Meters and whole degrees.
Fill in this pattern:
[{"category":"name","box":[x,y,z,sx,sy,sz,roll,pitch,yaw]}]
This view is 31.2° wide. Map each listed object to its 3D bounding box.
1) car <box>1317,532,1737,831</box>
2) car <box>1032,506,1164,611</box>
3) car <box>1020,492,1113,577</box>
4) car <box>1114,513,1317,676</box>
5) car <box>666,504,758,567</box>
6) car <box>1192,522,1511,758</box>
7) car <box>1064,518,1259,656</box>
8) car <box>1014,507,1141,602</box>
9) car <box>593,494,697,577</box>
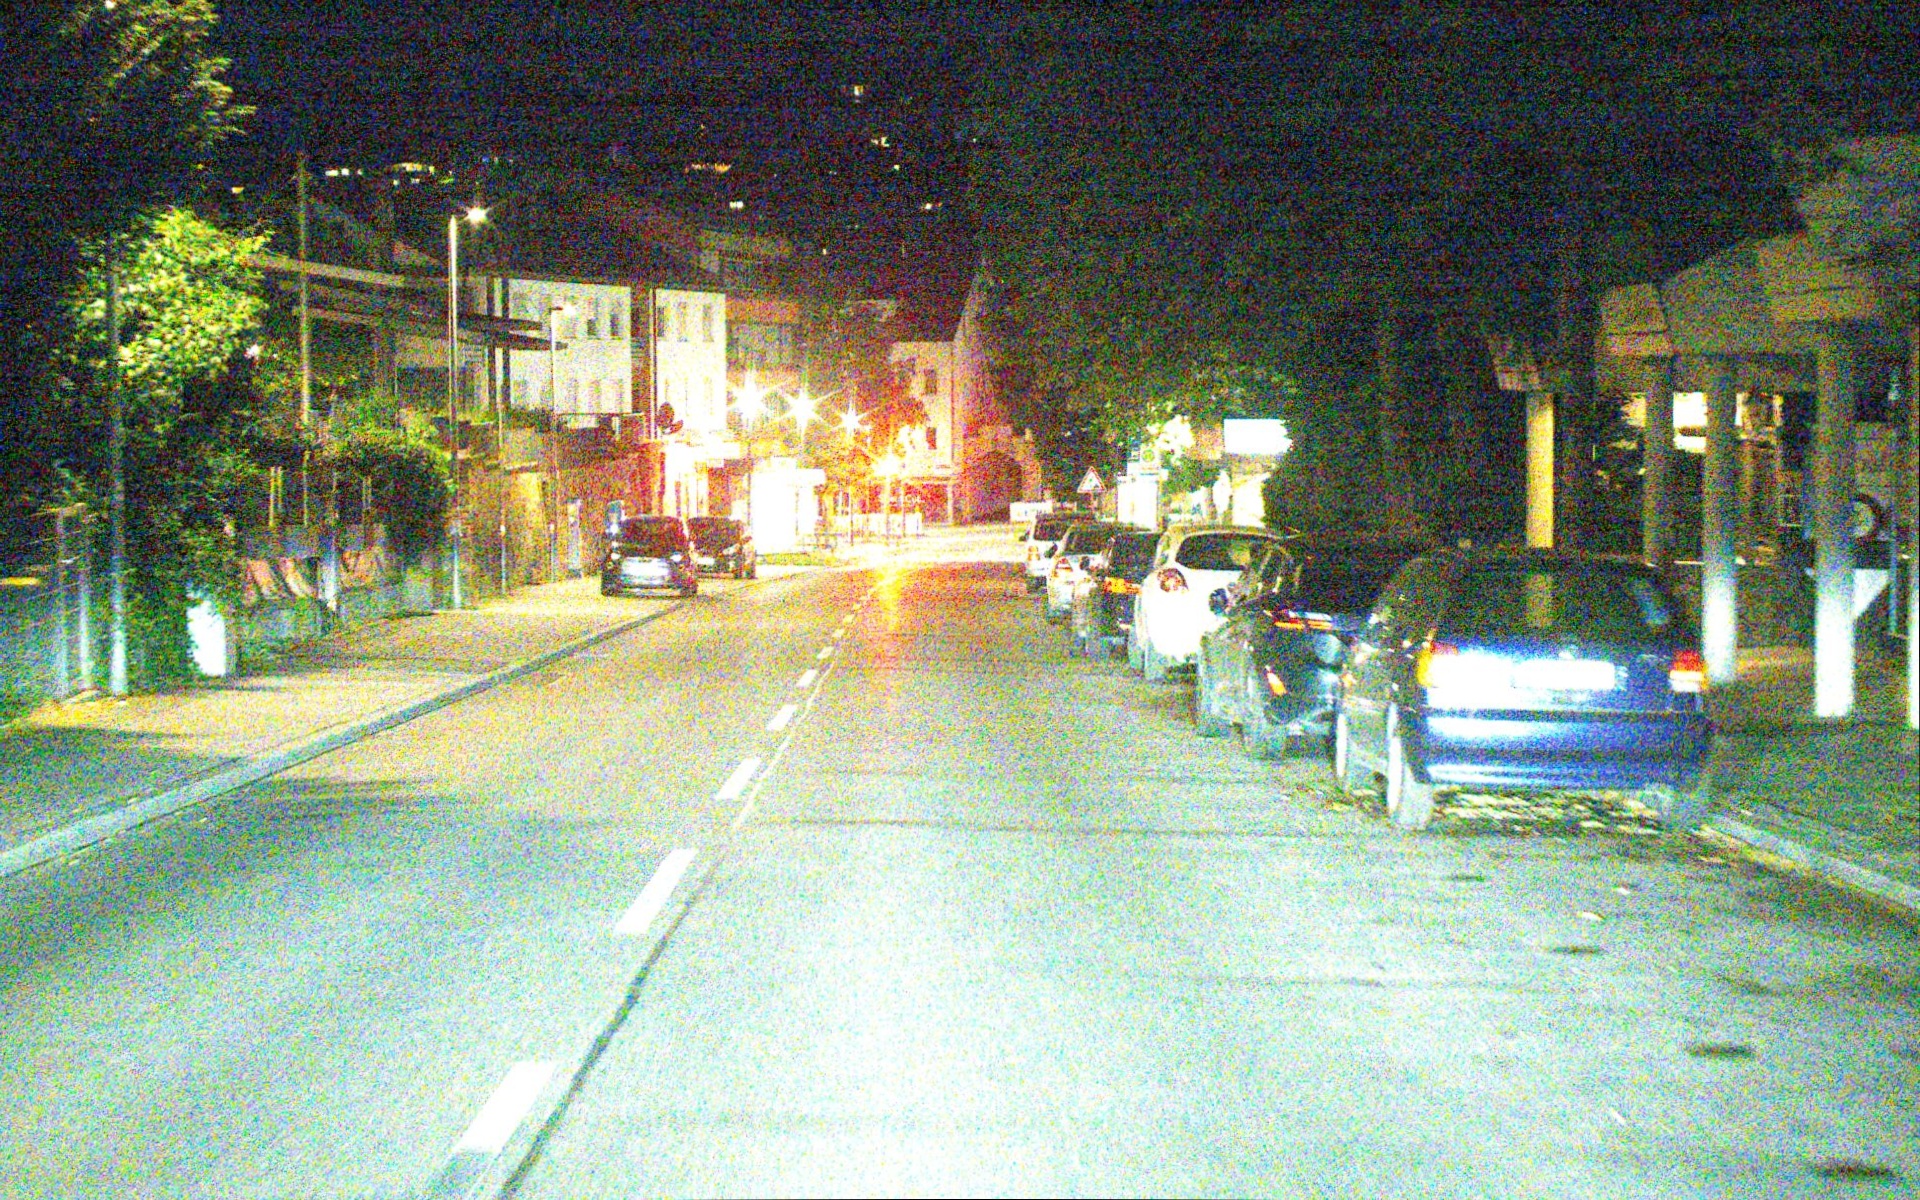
[{"category":"car","box":[2.923,0.359,18.384,1.600,1.394,3.518,1,2,-1]},{"category":"car","box":[1.963,-0.642,50.033,1.676,1.442,4.612,0,2,-1]},{"category":"car","box":[2.147,-1.363,70.487,1.787,1.636,4.380,-2,2,1]},{"category":"car","box":[2.466,-0.098,33.886,1.638,1.461,3.776,2,2,-1]},{"category":"car","box":[-5.944,-1.573,82.689,1.692,1.431,4.128,2,2,3]},{"category":"car","box":[2.581,0.203,23.480,1.676,1.442,4.000,0,2,-1]},{"category":"car","box":[2.203,-0.189,38.622,1.762,1.411,4.441,1,2,-2]},{"category":"car","box":[1.876,-0.767,56.037,1.780,1.432,4.290,1,2,-1]},{"category":"car","box":[-5.970,-1.209,65.466,1.691,1.518,3.691,1,1,-1]}]
